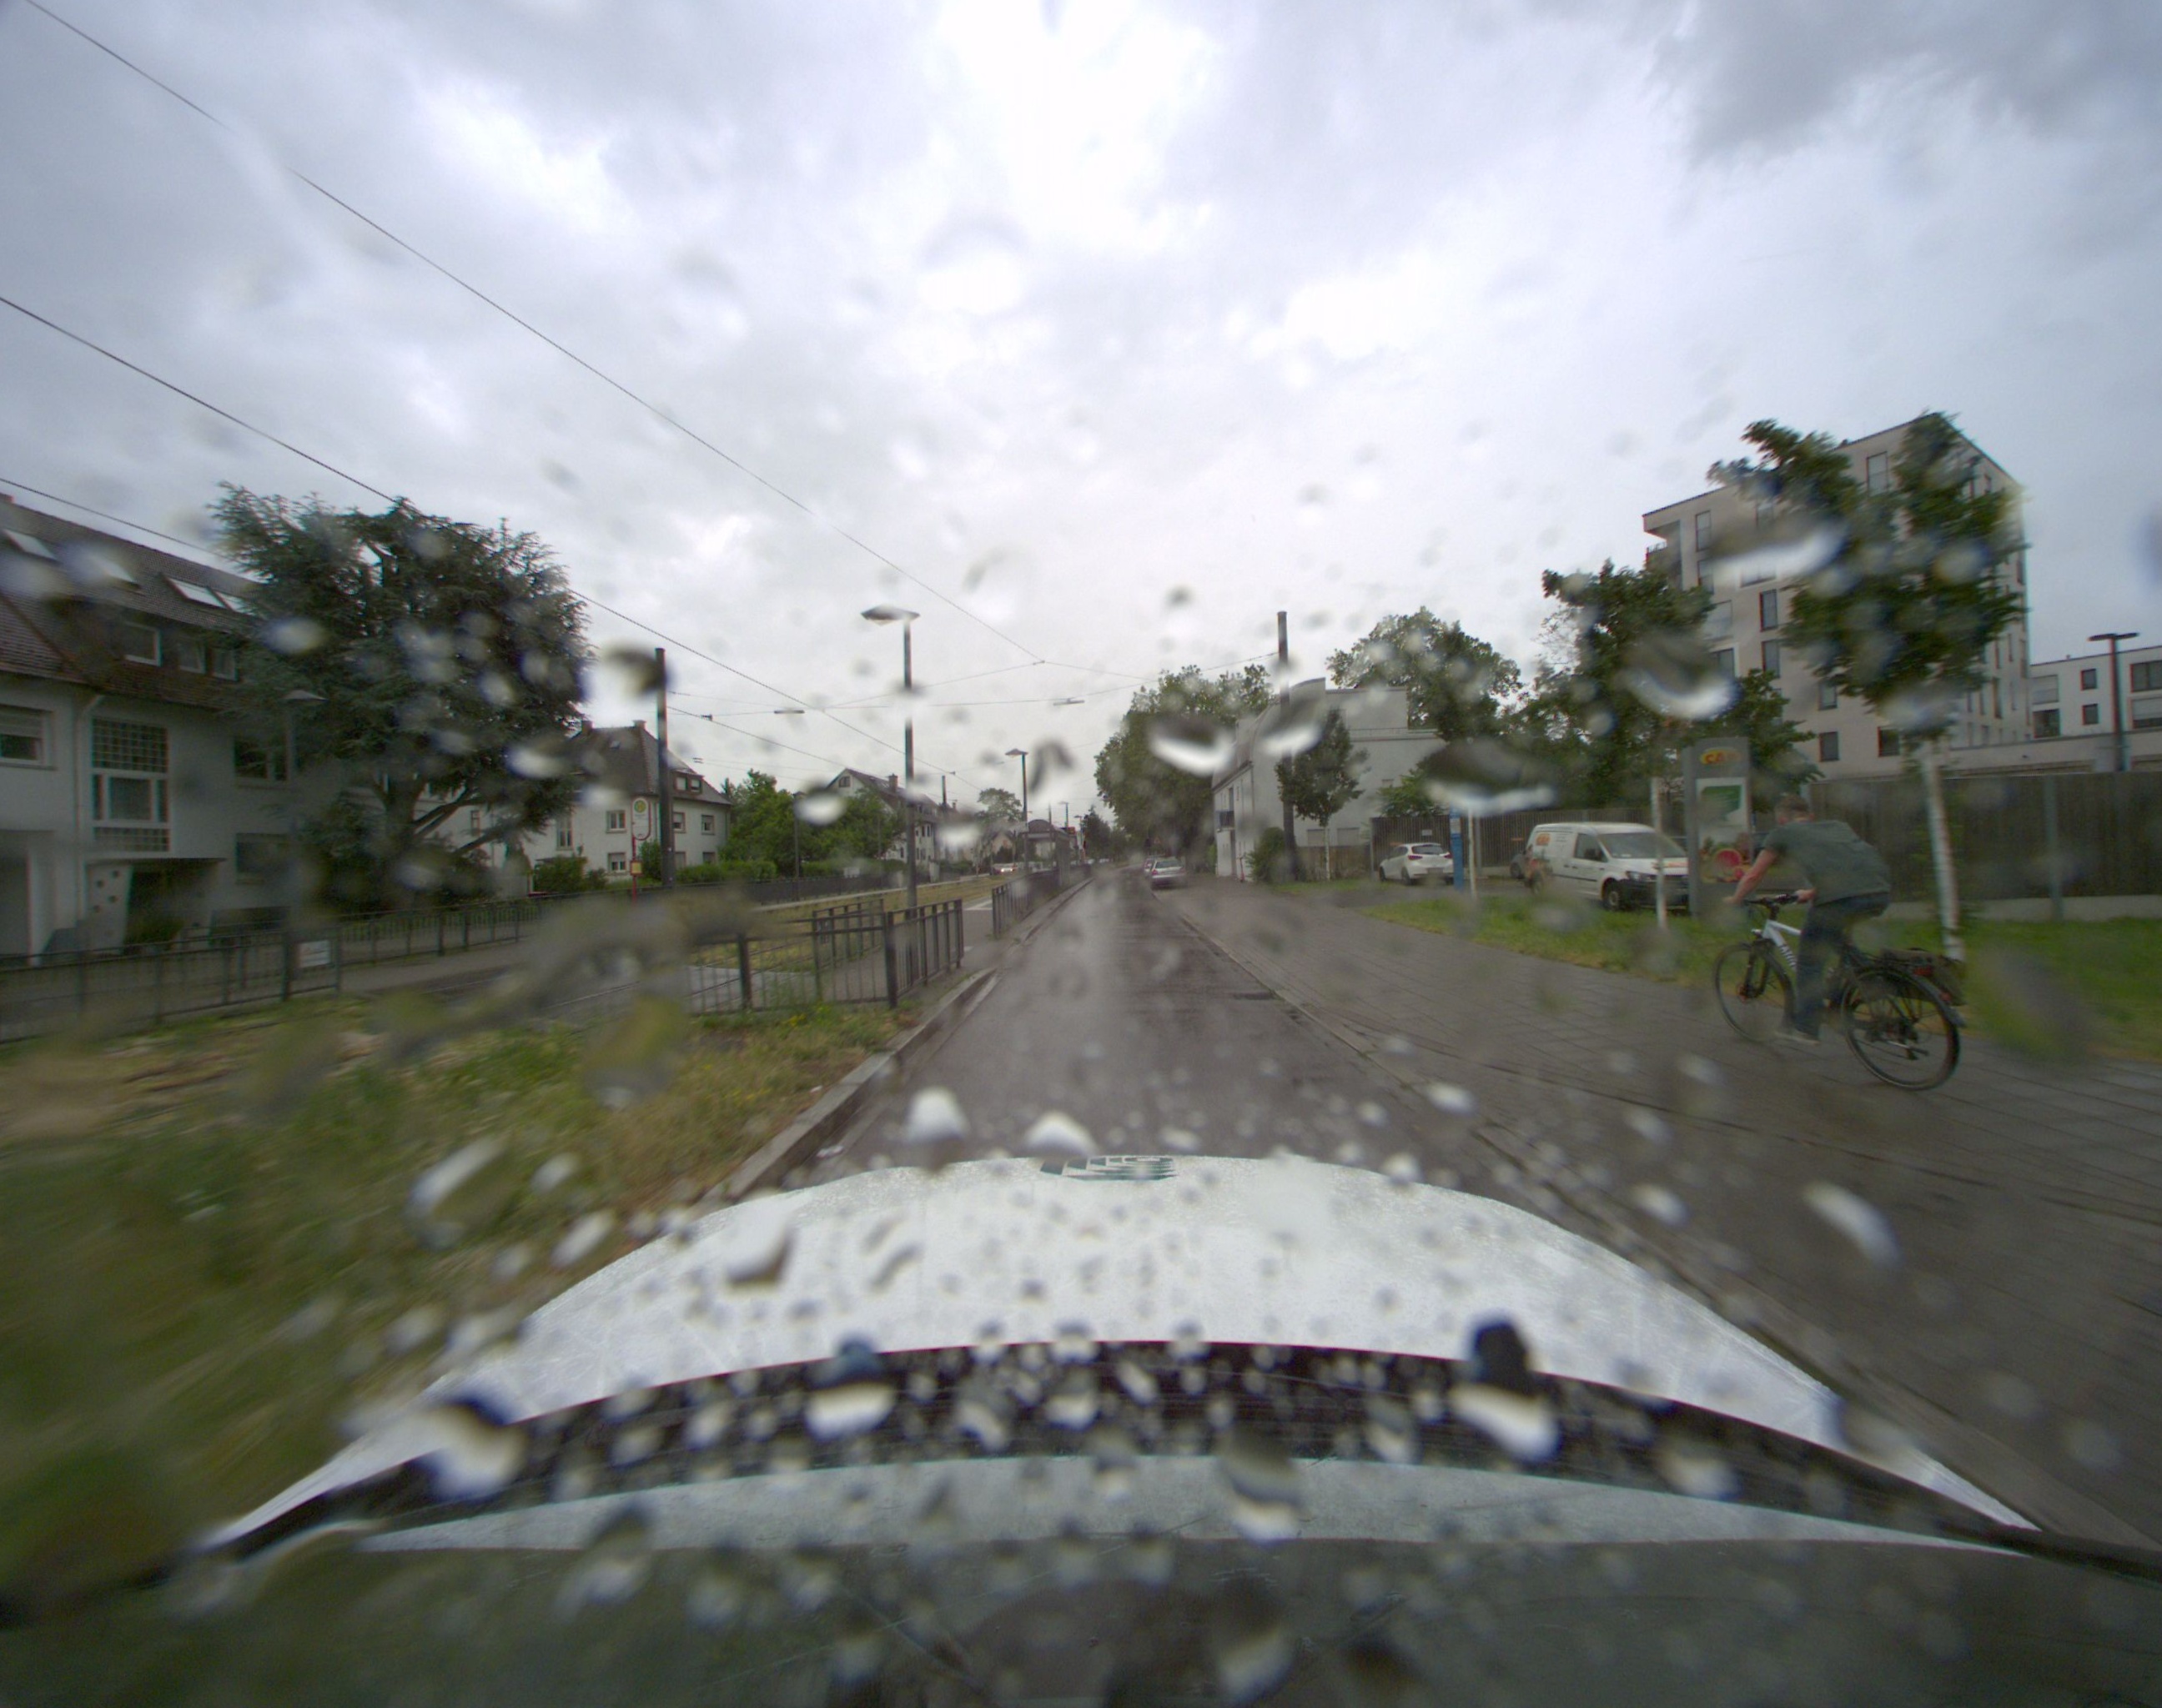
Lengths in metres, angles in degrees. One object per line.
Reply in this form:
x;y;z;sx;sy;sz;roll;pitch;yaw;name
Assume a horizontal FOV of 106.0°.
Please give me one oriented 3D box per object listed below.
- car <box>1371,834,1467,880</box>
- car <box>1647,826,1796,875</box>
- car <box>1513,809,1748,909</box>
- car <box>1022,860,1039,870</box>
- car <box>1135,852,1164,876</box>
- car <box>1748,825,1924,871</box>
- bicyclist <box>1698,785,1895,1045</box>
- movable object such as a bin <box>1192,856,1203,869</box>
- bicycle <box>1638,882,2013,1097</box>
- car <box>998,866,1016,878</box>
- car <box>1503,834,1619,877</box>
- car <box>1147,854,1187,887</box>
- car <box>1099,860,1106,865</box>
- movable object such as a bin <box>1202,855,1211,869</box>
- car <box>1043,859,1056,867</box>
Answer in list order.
12.256;0.073;29.832;1.954;1.535;4.369;-1;1;4;car
22.047;-0.137;28.281;1.954;1.535;4.369;-1;1;4;car
11.335;0.069;17.332;1.954;1.784;4.903;-1;1;4;car
-8.038;1.738;129.894;1.919;1.486;4.006;-1;-1;6;car
4.689;0.705;56.122;1.799;1.467;3.797;-5;-1;3;car
27.534;-0.231;29.894;1.973;1.535;4.328;-1;1;-24;car
4.624;0.370;5.313;0.533;1.559;0.771;-1;-1;-6;bicyclist
9.403;0.667;65.658;0.690;1.022;0.825;-4;-1;2;movable object such as a bin
4.638;0.753;5.315;0.535;1.093;1.945;-1;-1;-4;bicycle
-9.114;2.199;100.939;1.626;1.493;4.004;-1;-1;4;car
17.332;0.031;29.629;1.958;1.447;3.661;-1;1;-2;car
4.231;0.805;40.439;1.643;1.405;4.653;-5;-1;3;car
6.805;2.564;257.525;1.919;1.486;4.006;-1;-1;6;car
9.981;0.648;64.957;0.534;1.022;0.739;-4;-1;2;movable object such as a bin
-6.070;1.706;159.214;1.919;1.486;4.006;-1;-1;6;car
